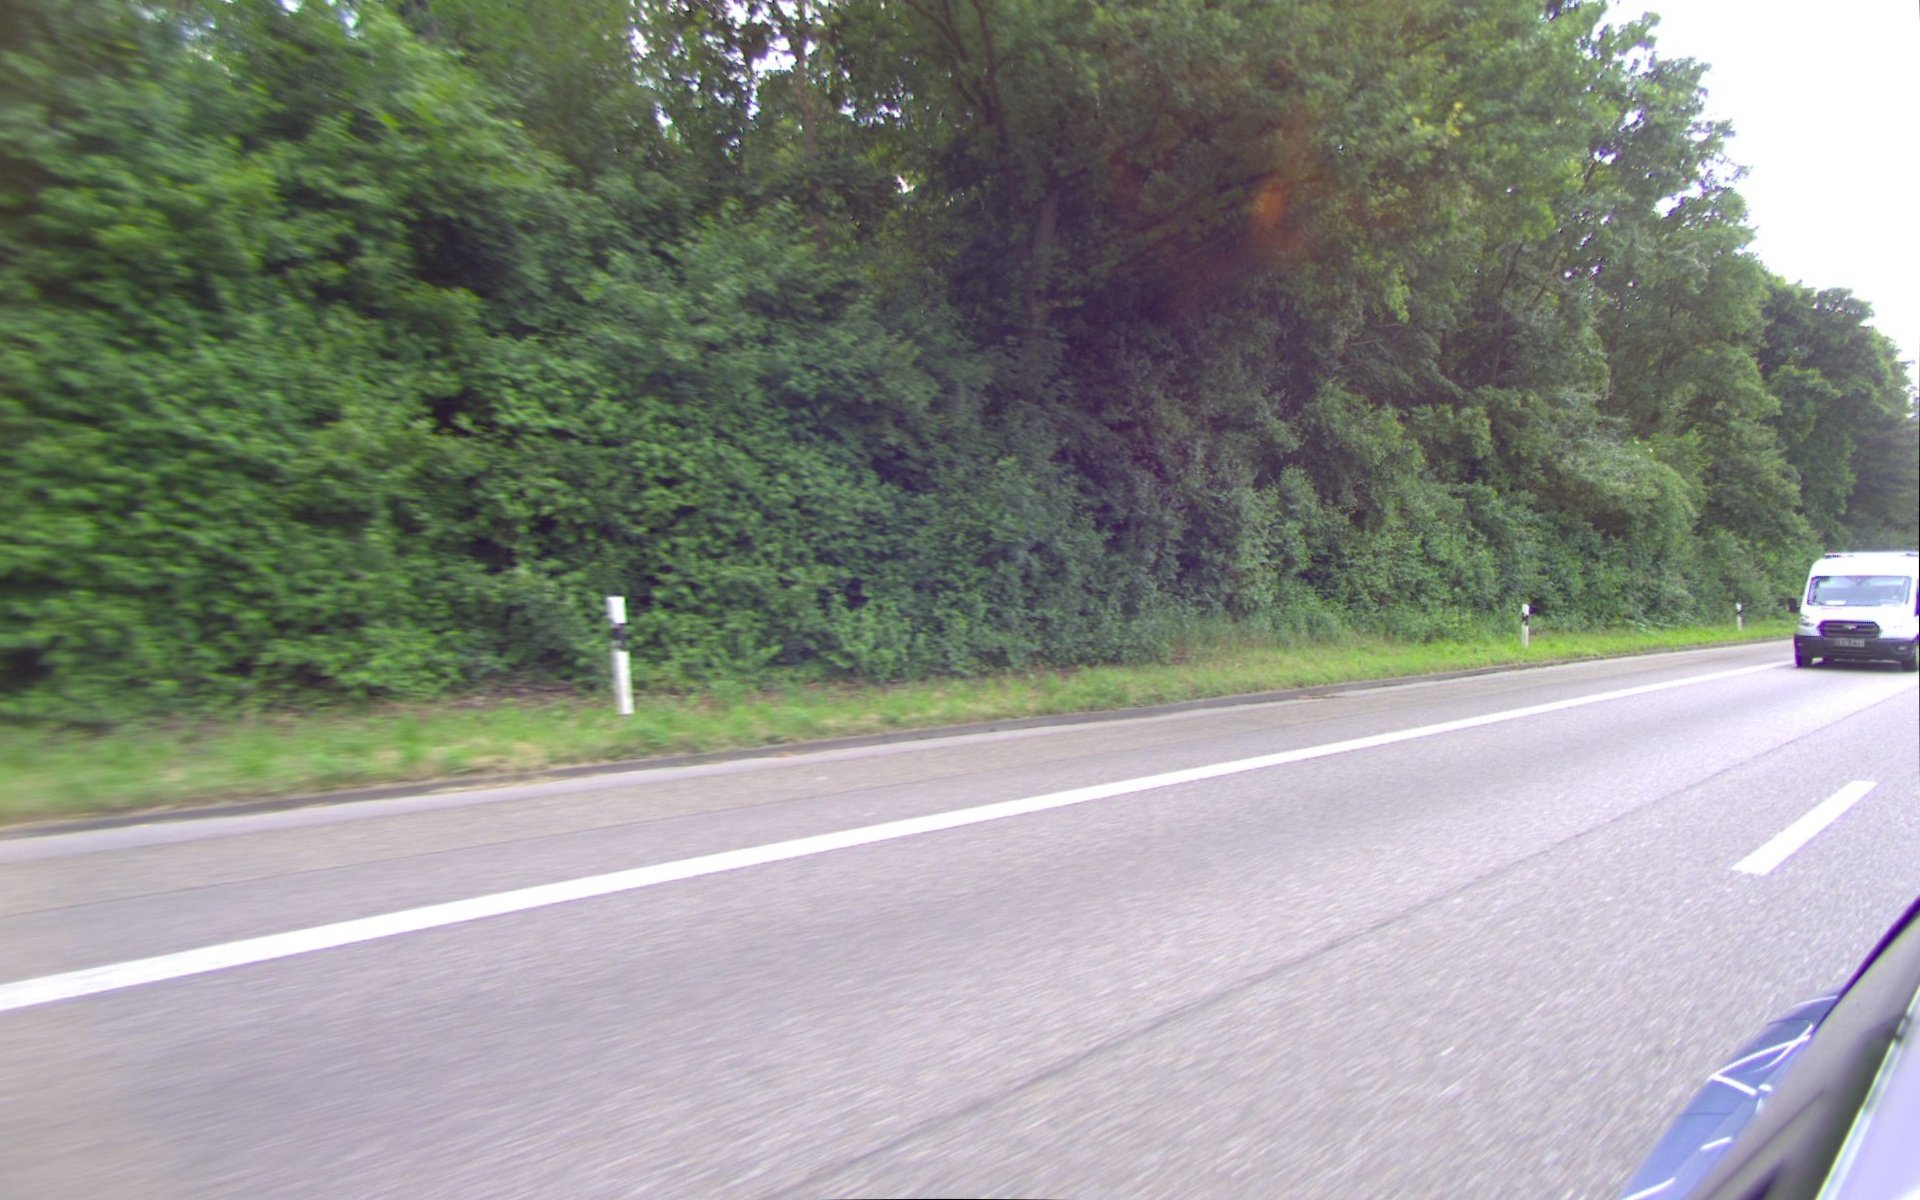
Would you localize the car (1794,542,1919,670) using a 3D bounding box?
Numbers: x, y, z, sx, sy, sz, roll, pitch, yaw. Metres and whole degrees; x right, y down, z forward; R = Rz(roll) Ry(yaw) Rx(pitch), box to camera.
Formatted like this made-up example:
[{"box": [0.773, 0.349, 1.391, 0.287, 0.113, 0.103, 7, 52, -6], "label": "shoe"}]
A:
[{"box": [20.466, 0.101, 22.514, 5.186, 2.539, 2.102, 0, 0, -41], "label": "car"}]
